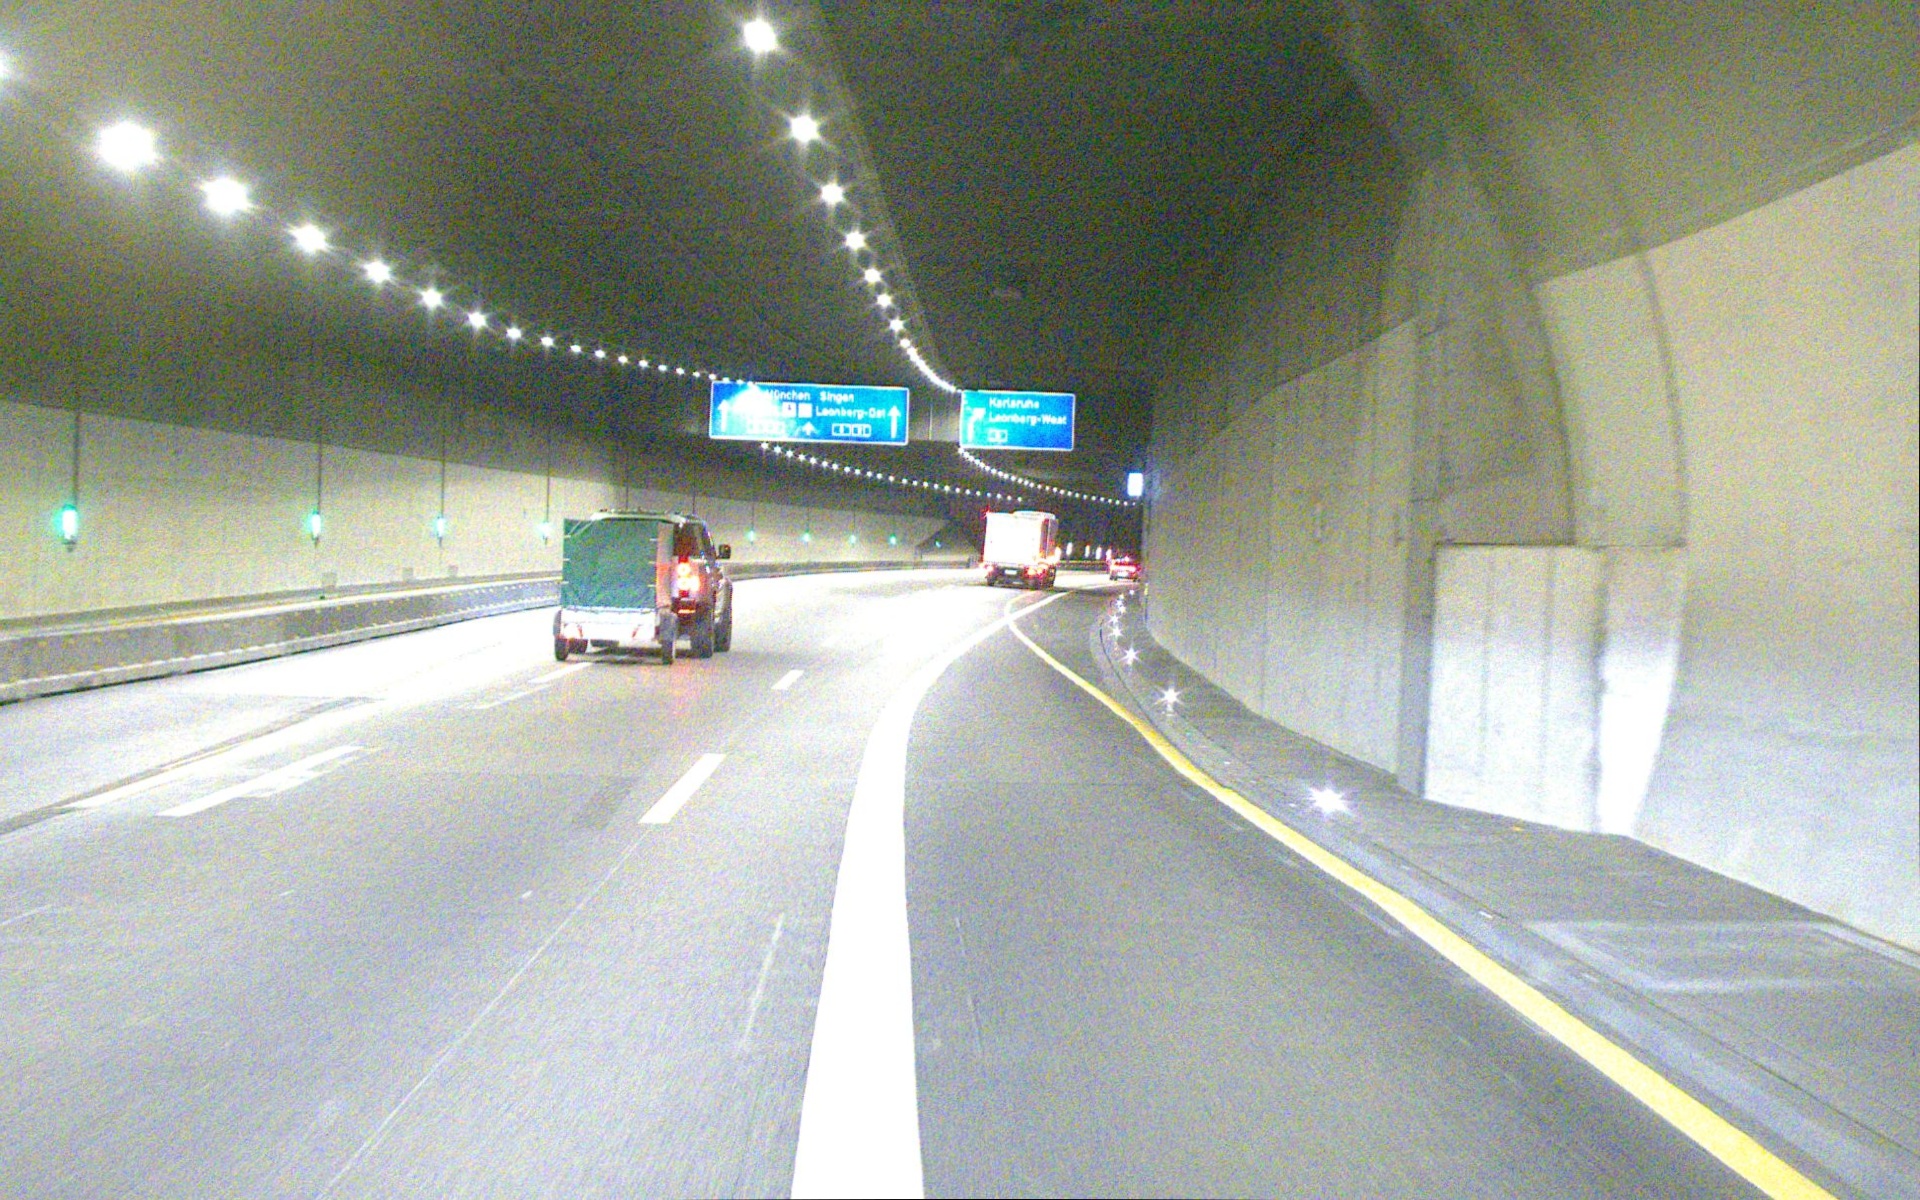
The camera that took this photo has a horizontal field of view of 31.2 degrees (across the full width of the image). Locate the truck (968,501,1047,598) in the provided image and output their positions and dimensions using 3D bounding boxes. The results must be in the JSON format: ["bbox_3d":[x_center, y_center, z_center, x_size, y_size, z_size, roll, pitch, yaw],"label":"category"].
[{"bbox_3d":[2.289,-2.446,162.999,3.474,4.301,10.952,3,1,1],"label":"truck"}]

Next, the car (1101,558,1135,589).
[{"bbox_3d":[10.284,-1.719,223.295,1.994,1.888,5.531,1,1,5],"label":"car"}]

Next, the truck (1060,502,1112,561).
[{"bbox_3d":[9.464,-5.155,259.308,3.474,4.301,10.953,0,1,0],"label":"truck"}]

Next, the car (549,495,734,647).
[{"bbox_3d":[-4.314,-0.340,47.391,1.993,1.889,5.453,1,-1,0],"label":"car"}]
